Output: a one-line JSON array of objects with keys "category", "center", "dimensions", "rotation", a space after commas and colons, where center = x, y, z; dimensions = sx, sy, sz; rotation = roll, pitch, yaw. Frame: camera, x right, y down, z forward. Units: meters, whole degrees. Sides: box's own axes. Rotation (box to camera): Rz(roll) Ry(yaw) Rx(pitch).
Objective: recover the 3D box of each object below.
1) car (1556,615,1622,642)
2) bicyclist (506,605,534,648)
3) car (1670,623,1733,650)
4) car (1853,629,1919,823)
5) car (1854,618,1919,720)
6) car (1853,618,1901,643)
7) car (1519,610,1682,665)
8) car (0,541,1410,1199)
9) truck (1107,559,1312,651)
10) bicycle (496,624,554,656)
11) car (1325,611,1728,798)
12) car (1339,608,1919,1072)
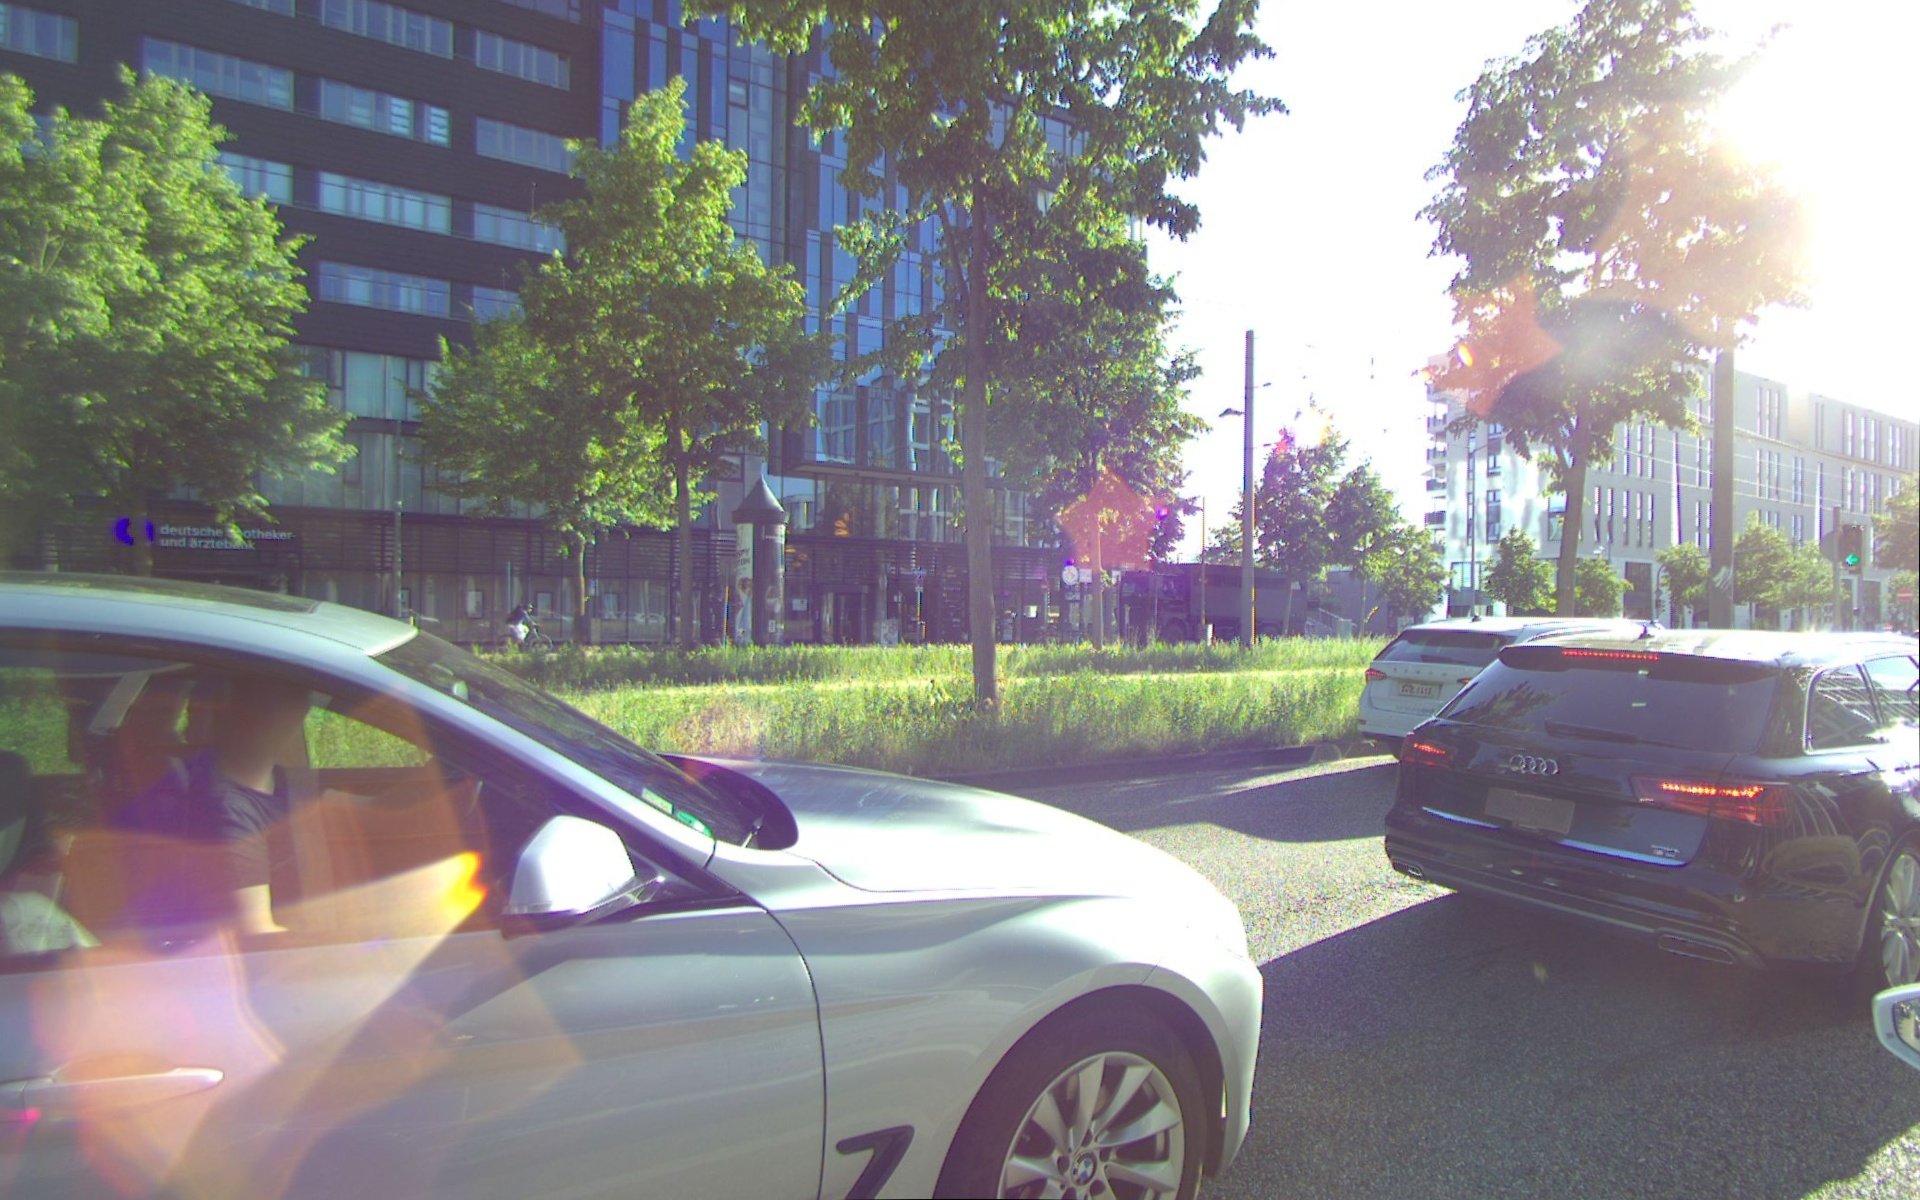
[{"category": "car", "center": [37.533, 1.685, 59.906], "dimensions": [3.953, 1.540, 1.756], "rotation": [1, -1, -30]}, {"category": "bicyclist", "center": [-14.726, 0.888, 33.634], "dimensions": [0.811, 1.443, 0.475], "rotation": [1, -1, -30]}, {"category": "car", "center": [51.470, 2.513, 69.682], "dimensions": [4.319, 1.838, 1.984], "rotation": [1, -1, -30]}, {"category": "car", "center": [9.314, 0.989, 8.178], "dimensions": [4.288, 1.445, 1.833], "rotation": [1, -1, -30]}, {"category": "car", "center": [15.921, 1.050, 15.531], "dimensions": [4.513, 1.467, 1.791], "rotation": [1, -1, -30]}, {"category": "car", "center": [78.095, 2.593, 85.533], "dimensions": [3.953, 2.040, 1.984], "rotation": [1, -1, -30]}, {"category": "car", "center": [22.516, 1.259, 35.458], "dimensions": [1.792, 1.503, 4.510], "rotation": [1, 3, -43]}, {"category": "car", "center": [-1.308, 0.695, 2.016], "dimensions": [4.509, 1.504, 1.810], "rotation": [1, -1, -31]}, {"category": "truck", "center": [11.699, 0.300, 46.496], "dimensions": [10.094, 3.904, 2.877], "rotation": [1, -1, -31]}, {"category": "bicycle", "center": [-14.590, 1.351, 33.705], "dimensions": [1.735, 1.049, 0.475], "rotation": [1, -1, -31]}, {"category": "car", "center": [5.624, 0.891, 9.840], "dimensions": [4.164, 1.512, 1.508], "rotation": [1, -1, -29]}, {"category": "car", "center": [4.411, 0.834, 5.363], "dimensions": [4.911, 1.504, 1.864], "rotation": [1, -1, -32]}]
